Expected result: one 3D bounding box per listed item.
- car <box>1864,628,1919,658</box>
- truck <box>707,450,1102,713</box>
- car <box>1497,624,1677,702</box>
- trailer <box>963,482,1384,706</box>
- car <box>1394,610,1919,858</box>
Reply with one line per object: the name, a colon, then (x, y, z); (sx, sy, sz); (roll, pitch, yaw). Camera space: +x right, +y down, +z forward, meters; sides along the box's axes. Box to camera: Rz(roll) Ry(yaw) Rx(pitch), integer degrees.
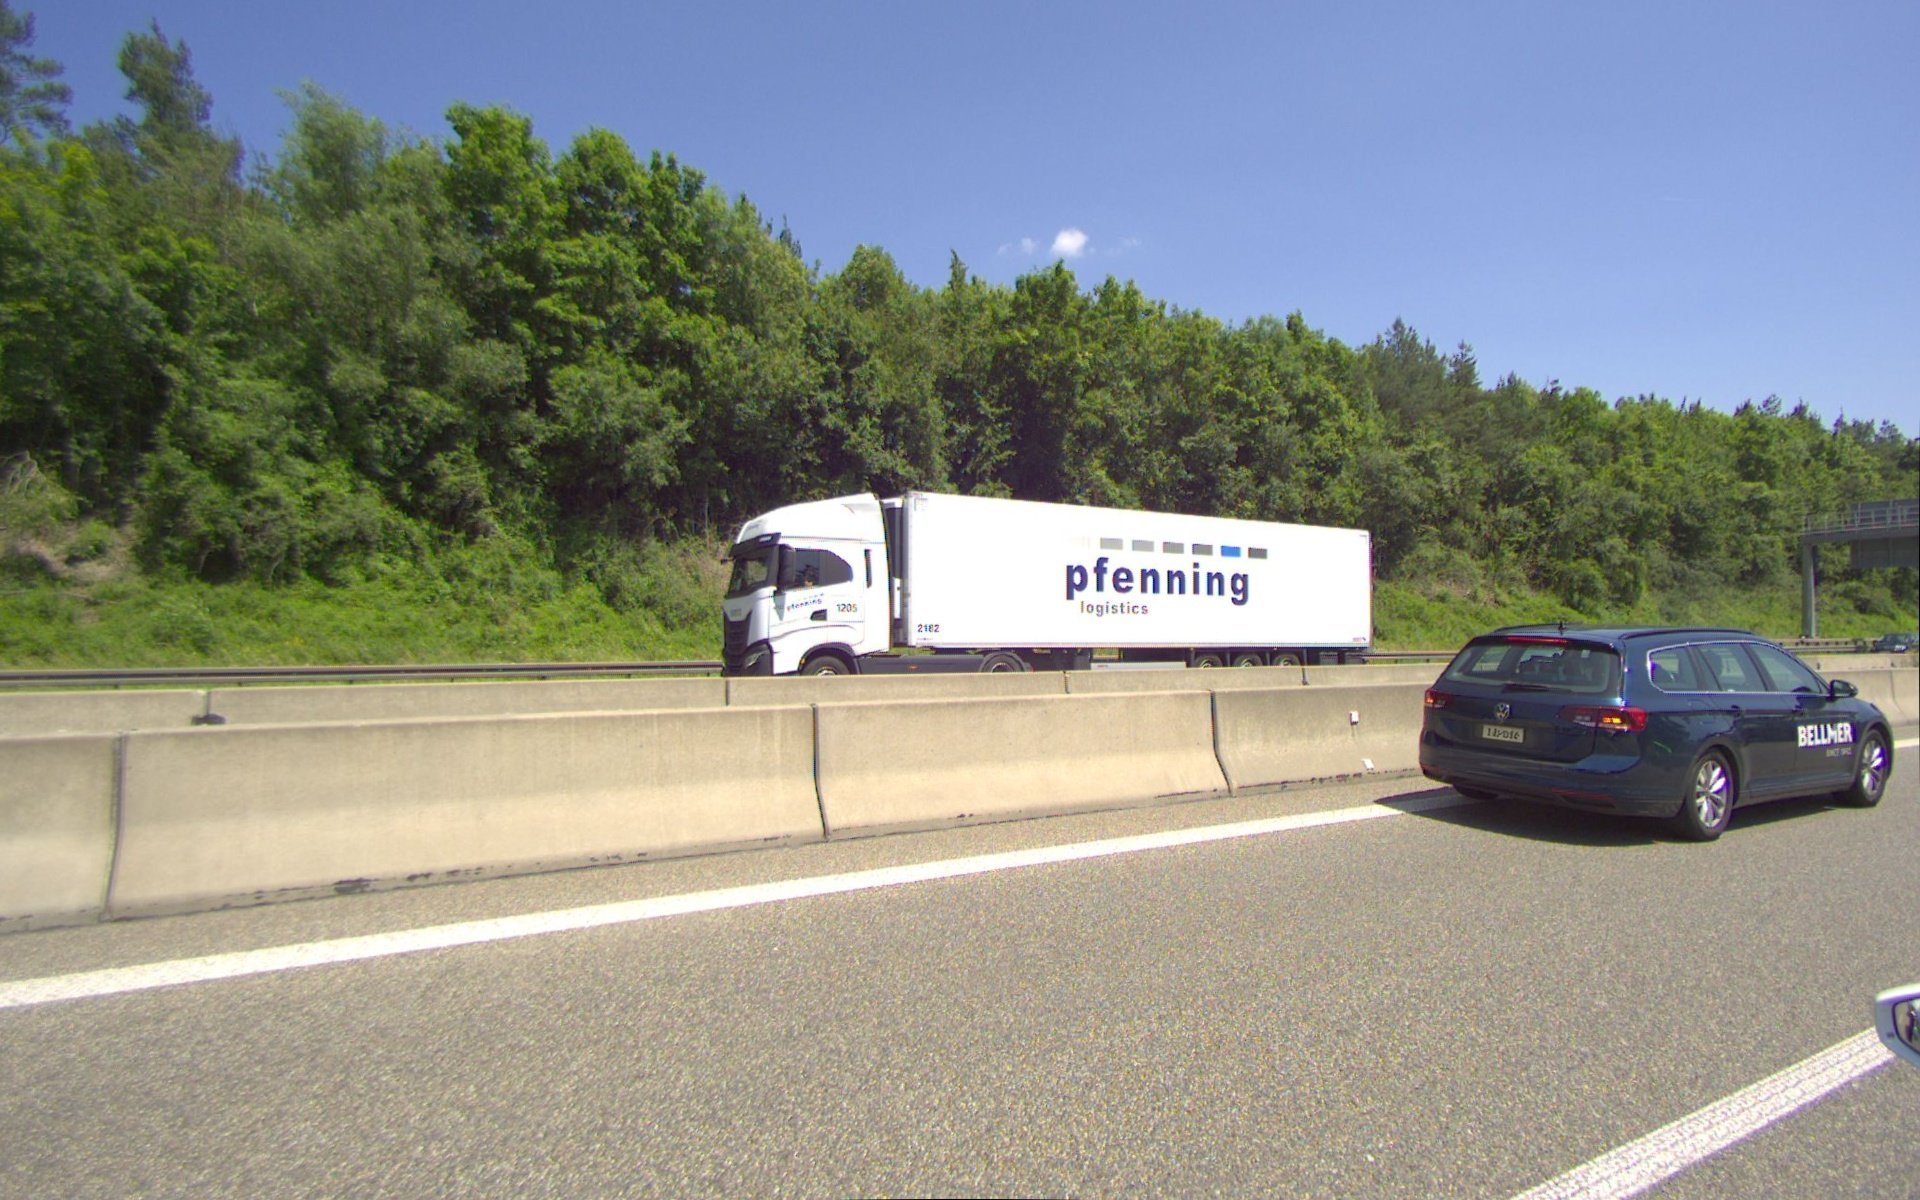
car: (51.097, 2.371, 54.656); (3.504, 1.504, 1.920); (2, -1, -32)
truck: (-1.004, -0.191, 20.504); (7.432, 4.541, 2.934); (2, -1, -31)
car: (16.105, 1.595, 25.789); (4.396, 1.786, 1.985); (2, -1, -28)
trailer: (5.477, 0.069, 24.347); (10.690, 4.541, 2.935); (2, -1, -30)
car: (5.796, 0.888, 8.054); (4.623, 1.469, 1.865); (2, 0, -30)
